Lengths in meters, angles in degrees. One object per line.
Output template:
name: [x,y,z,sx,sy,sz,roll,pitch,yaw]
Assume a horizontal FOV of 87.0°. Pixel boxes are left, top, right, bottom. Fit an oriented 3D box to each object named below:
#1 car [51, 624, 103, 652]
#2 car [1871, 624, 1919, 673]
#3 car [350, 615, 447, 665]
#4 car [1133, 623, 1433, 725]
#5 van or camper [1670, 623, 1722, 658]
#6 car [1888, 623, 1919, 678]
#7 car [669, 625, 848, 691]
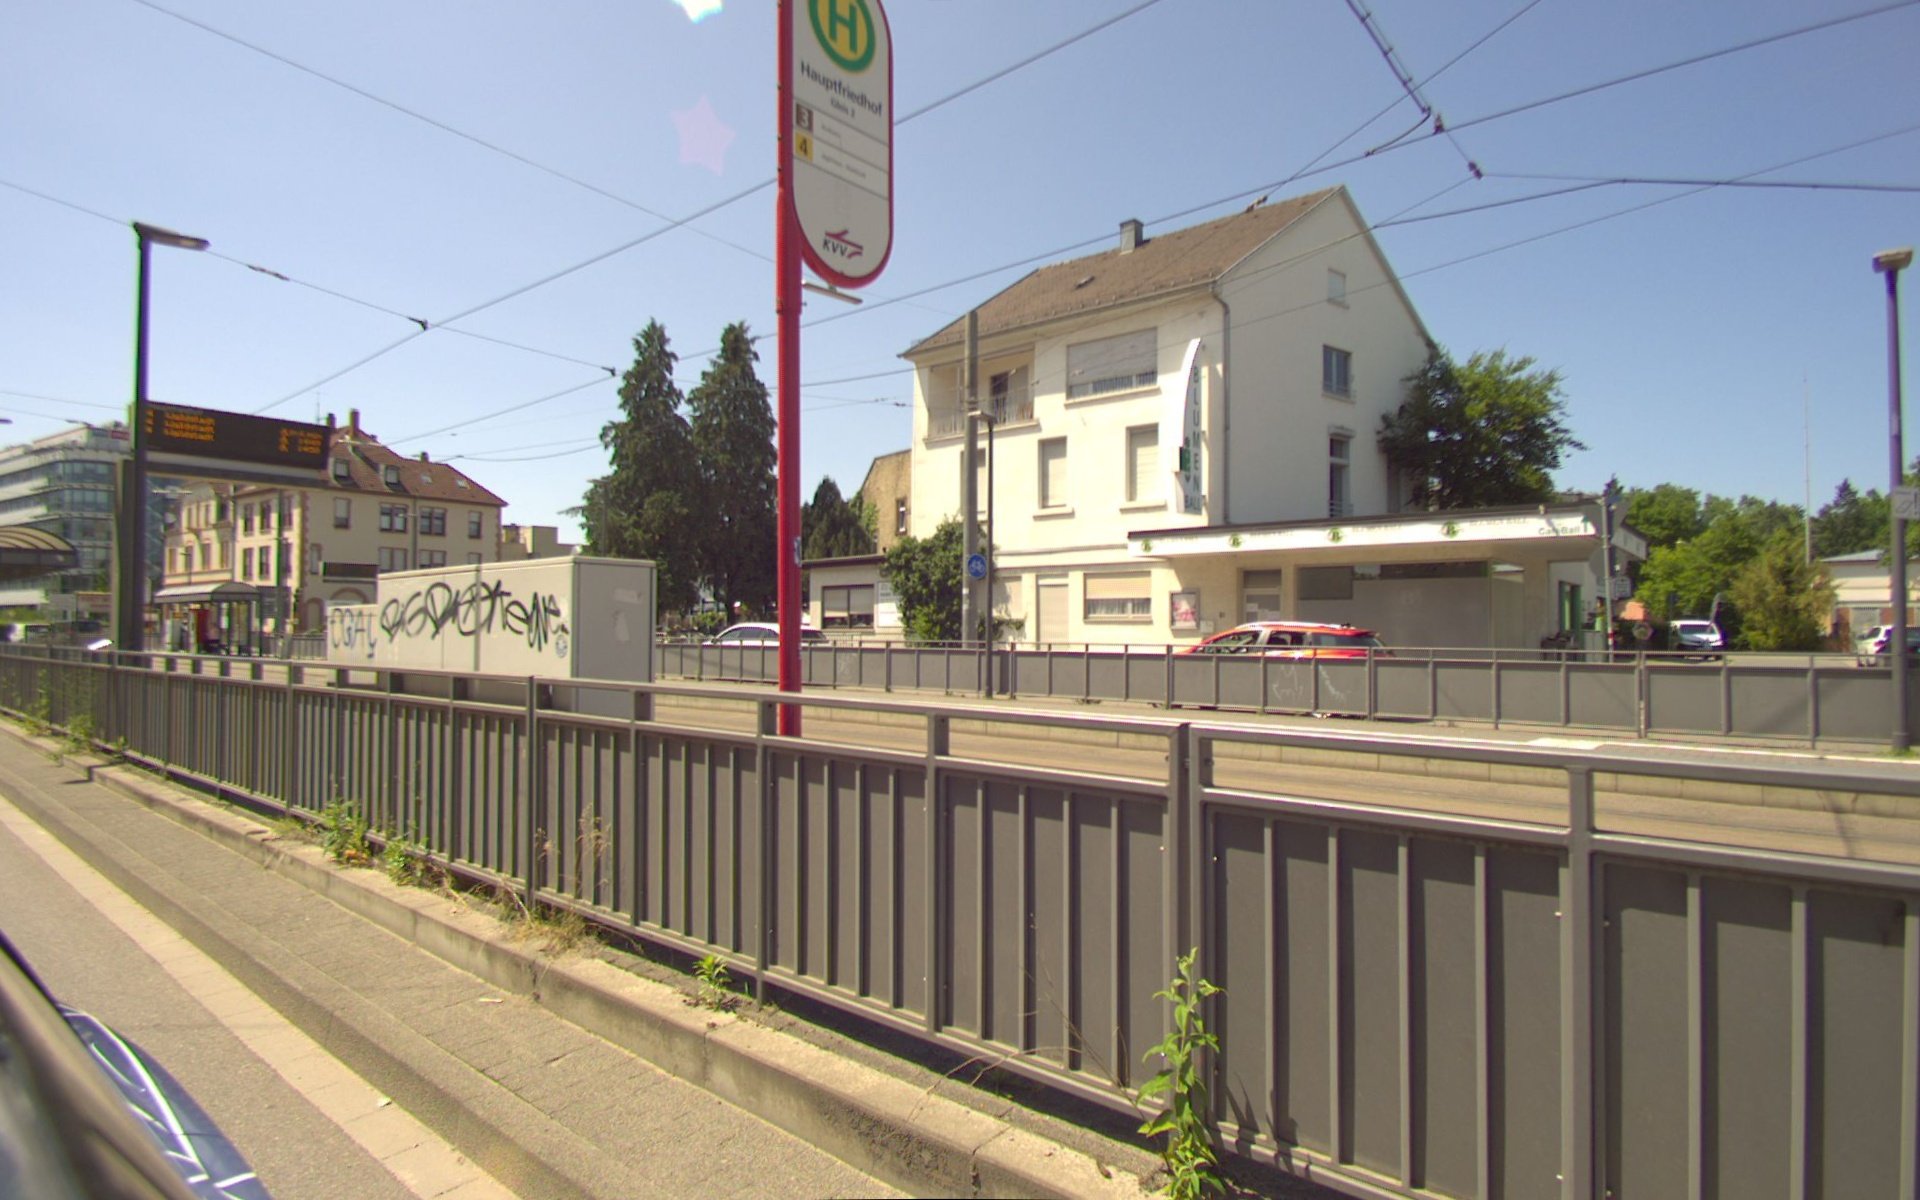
car: [-59.883,2.534,68.616,3.996,1.852,1.974,-2,-2,39]
car: [29.534,1.504,31.503,1.644,1.457,3.761,-2,-3,41]
car: [-21.870,1.566,39.367,4.697,1.830,1.836,-2,-3,42]
car: [5.014,1.092,16.013,4.172,1.406,1.799,-1,-3,40]
van or camper: [34.685,1.905,47.795,1.686,1.578,3.784,-1,-2,32]
car: [25.612,1.341,26.639,1.644,1.381,3.760,-2,-3,42]
car: [-5.034,1.379,24.959,4.618,1.479,1.800,-1,-3,39]
